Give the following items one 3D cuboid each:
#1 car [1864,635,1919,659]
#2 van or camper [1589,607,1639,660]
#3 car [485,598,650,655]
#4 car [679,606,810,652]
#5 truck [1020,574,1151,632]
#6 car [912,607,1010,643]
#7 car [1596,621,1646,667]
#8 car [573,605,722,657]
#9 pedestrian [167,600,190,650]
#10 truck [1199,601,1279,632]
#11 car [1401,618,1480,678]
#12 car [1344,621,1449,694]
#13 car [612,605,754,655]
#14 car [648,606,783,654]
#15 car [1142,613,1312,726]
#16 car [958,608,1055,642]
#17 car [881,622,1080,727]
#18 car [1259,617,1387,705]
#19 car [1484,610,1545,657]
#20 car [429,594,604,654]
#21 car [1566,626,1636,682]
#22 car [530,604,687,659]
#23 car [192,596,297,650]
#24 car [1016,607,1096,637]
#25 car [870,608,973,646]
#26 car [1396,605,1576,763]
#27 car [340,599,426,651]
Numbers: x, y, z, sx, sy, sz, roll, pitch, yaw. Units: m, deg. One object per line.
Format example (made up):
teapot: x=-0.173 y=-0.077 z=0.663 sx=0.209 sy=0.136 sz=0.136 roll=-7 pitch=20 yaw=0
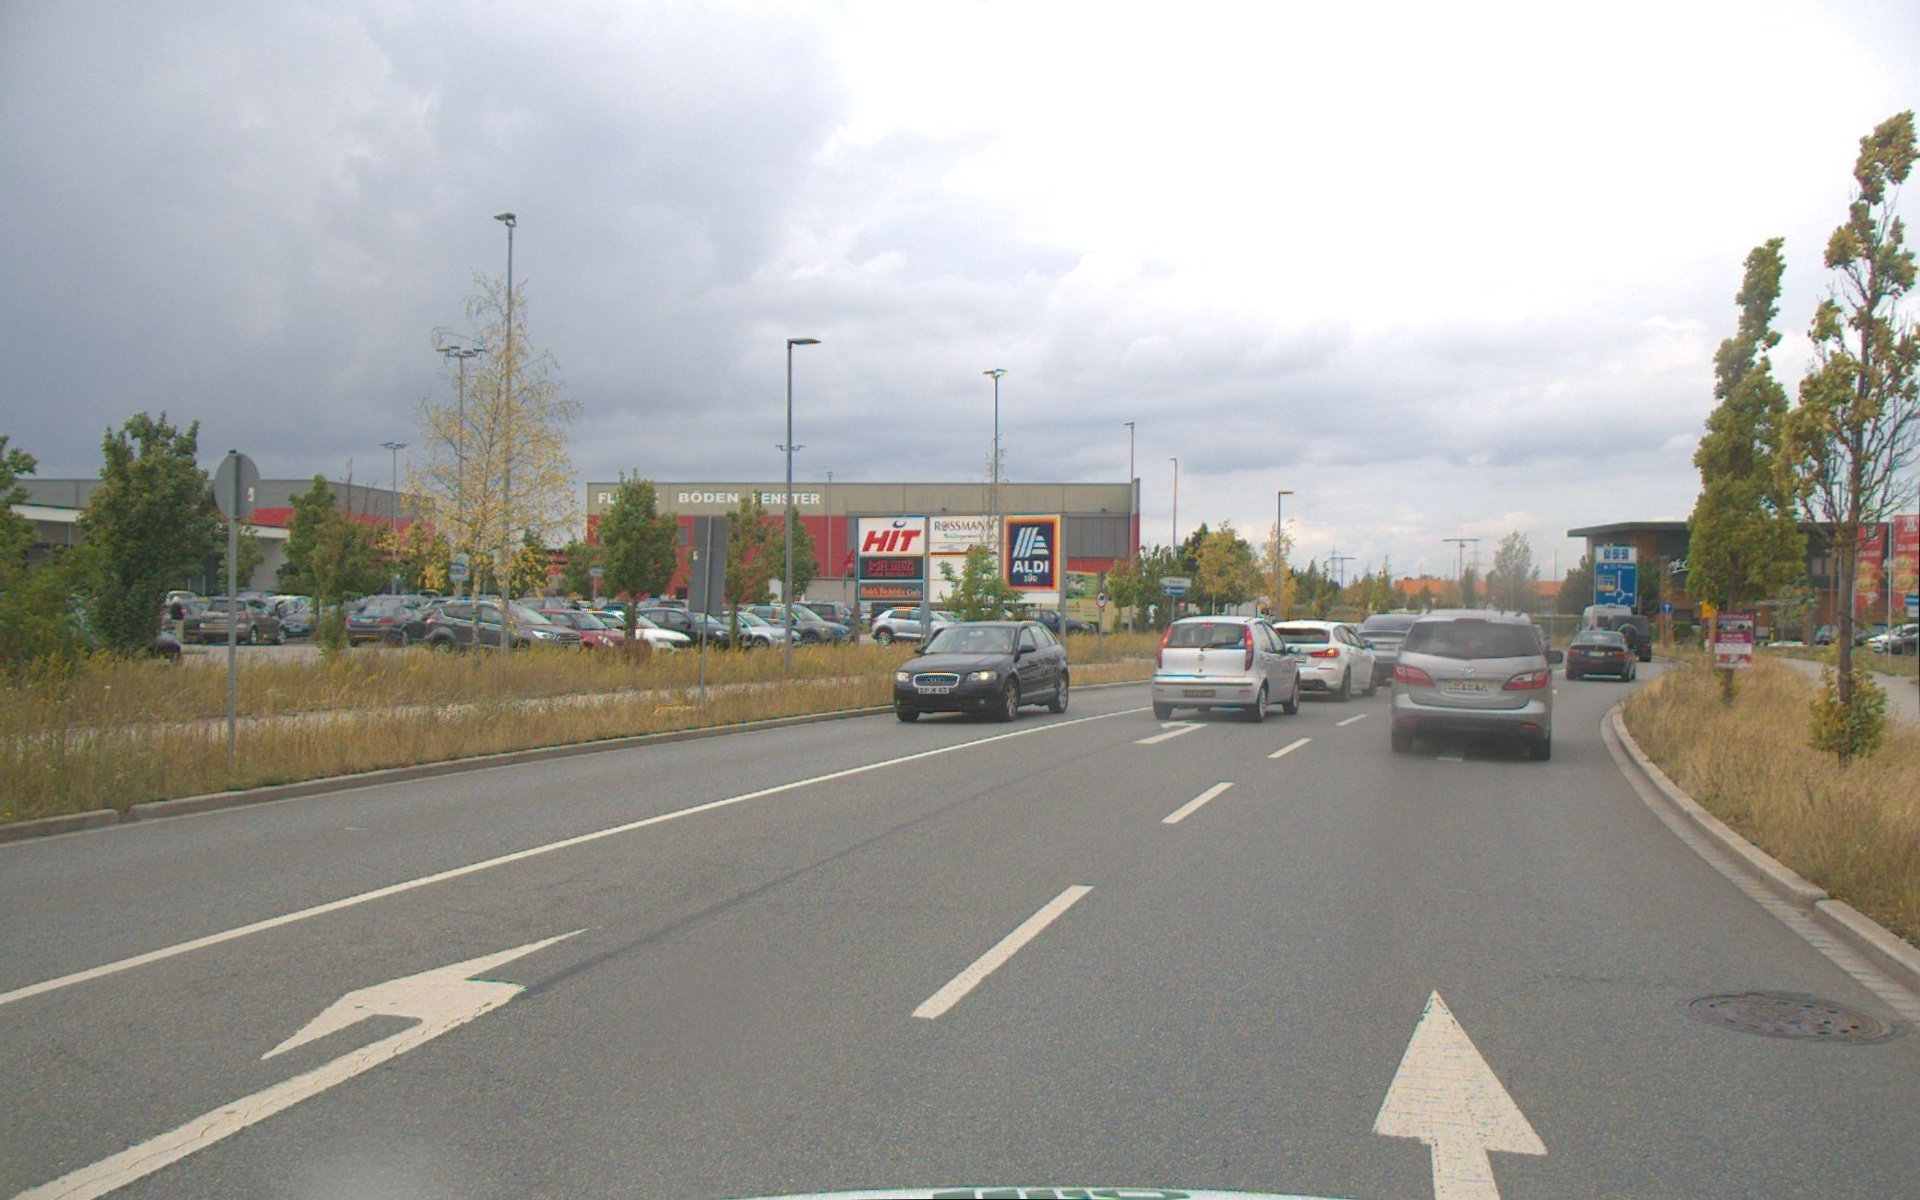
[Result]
car: x=52.277 y=2.631 z=91.874 sx=3.521 sy=1.266 sz=1.629 roll=0 pitch=0 yaw=25
van or camper: x=33.056 y=1.688 z=83.547 sx=2.145 sy=2.586 sz=6.163 roll=0 pitch=-1 yaw=23
car: x=-10.202 y=0.652 z=43.078 sx=3.722 sy=1.414 sz=1.915 roll=0 pitch=0 yaw=18
car: x=-6.952 y=0.923 z=53.481 sx=3.722 sy=1.414 sz=1.915 roll=0 pitch=0 yaw=18
truck: x=6.841 y=0.146 z=88.872 sx=2.633 sy=2.997 sz=8.132 roll=0 pitch=0 yaw=42
car: x=0.058 y=1.065 z=69.398 sx=3.751 sy=1.453 sz=1.742 roll=-1 pitch=-1 yaw=21
car: x=29.081 y=1.920 z=72.733 sx=1.953 sy=1.957 sz=4.846 roll=0 pitch=-1 yaw=22
car: x=-8.914 y=0.864 z=47.249 sx=3.722 sy=1.414 sz=1.915 roll=0 pitch=0 yaw=18
pedestrian: x=-25.263 y=0.792 z=53.478 sx=0.503 sy=1.604 sz=0.502 roll=0 pitch=0 yaw=-1
truck: x=27.584 y=1.596 z=163.696 sx=7.529 sy=2.967 sz=2.356 roll=0 pitch=0 yaw=22
car: x=13.533 y=1.307 z=46.405 sx=1.863 sy=1.596 sz=4.336 roll=0 pitch=-1 yaw=20
car: x=10.276 y=1.298 z=38.735 sx=1.768 sy=1.534 sz=4.883 roll=0 pitch=0 yaw=22
car: x=-8.258 y=0.884 z=49.427 sx=3.722 sy=1.414 sz=1.915 roll=0 pitch=0 yaw=18
car: x=-7.609 y=0.905 z=51.534 sx=3.722 sy=1.414 sz=1.915 roll=0 pitch=0 yaw=18
car: x=4.030 y=0.956 z=24.495 sx=1.758 sy=1.486 sz=3.816 roll=0 pitch=0 yaw=21
car: x=2.075 y=1.112 z=73.269 sx=3.903 sy=1.467 sz=2.001 roll=-1 pitch=-1 yaw=18
car: x=0.406 y=1.043 z=24.689 sx=1.732 sy=1.408 sz=4.151 roll=-1 pitch=-1 yaw=19
car: x=6.876 y=1.084 z=31.032 sx=1.758 sy=1.475 sz=4.249 roll=0 pitch=0 yaw=21
car: x=19.561 y=1.160 z=58.215 sx=1.864 sy=1.596 sz=4.336 roll=0 pitch=-1 yaw=21
car: x=-10.903 y=0.567 z=40.742 sx=3.722 sy=1.414 sz=1.915 roll=0 pitch=0 yaw=18
car: x=17.800 y=1.452 z=46.002 sx=1.717 sy=1.411 sz=4.302 roll=0 pitch=0 yaw=21
car: x=-9.565 y=0.831 z=45.053 sx=3.722 sy=1.414 sz=1.915 roll=0 pitch=0 yaw=18
car: x=-24.322 y=0.753 z=56.361 sx=1.953 sy=1.764 sz=3.998 roll=0 pitch=0 yaw=-2
car: x=4.672 y=1.067 z=80.191 sx=3.748 sy=1.453 sz=1.743 roll=0 pitch=0 yaw=6
car: x=-1.552 y=1.084 z=66.247 sx=3.752 sy=1.453 sz=1.742 roll=-1 pitch=-1 yaw=22
car: x=6.246 y=0.879 z=19.543 sx=1.777 sy=1.590 sz=4.403 roll=1 pitch=0 yaw=19
car: x=-19.387 y=0.808 z=55.746 sx=1.722 sy=1.682 sz=3.834 roll=0 pitch=0 yaw=-3
